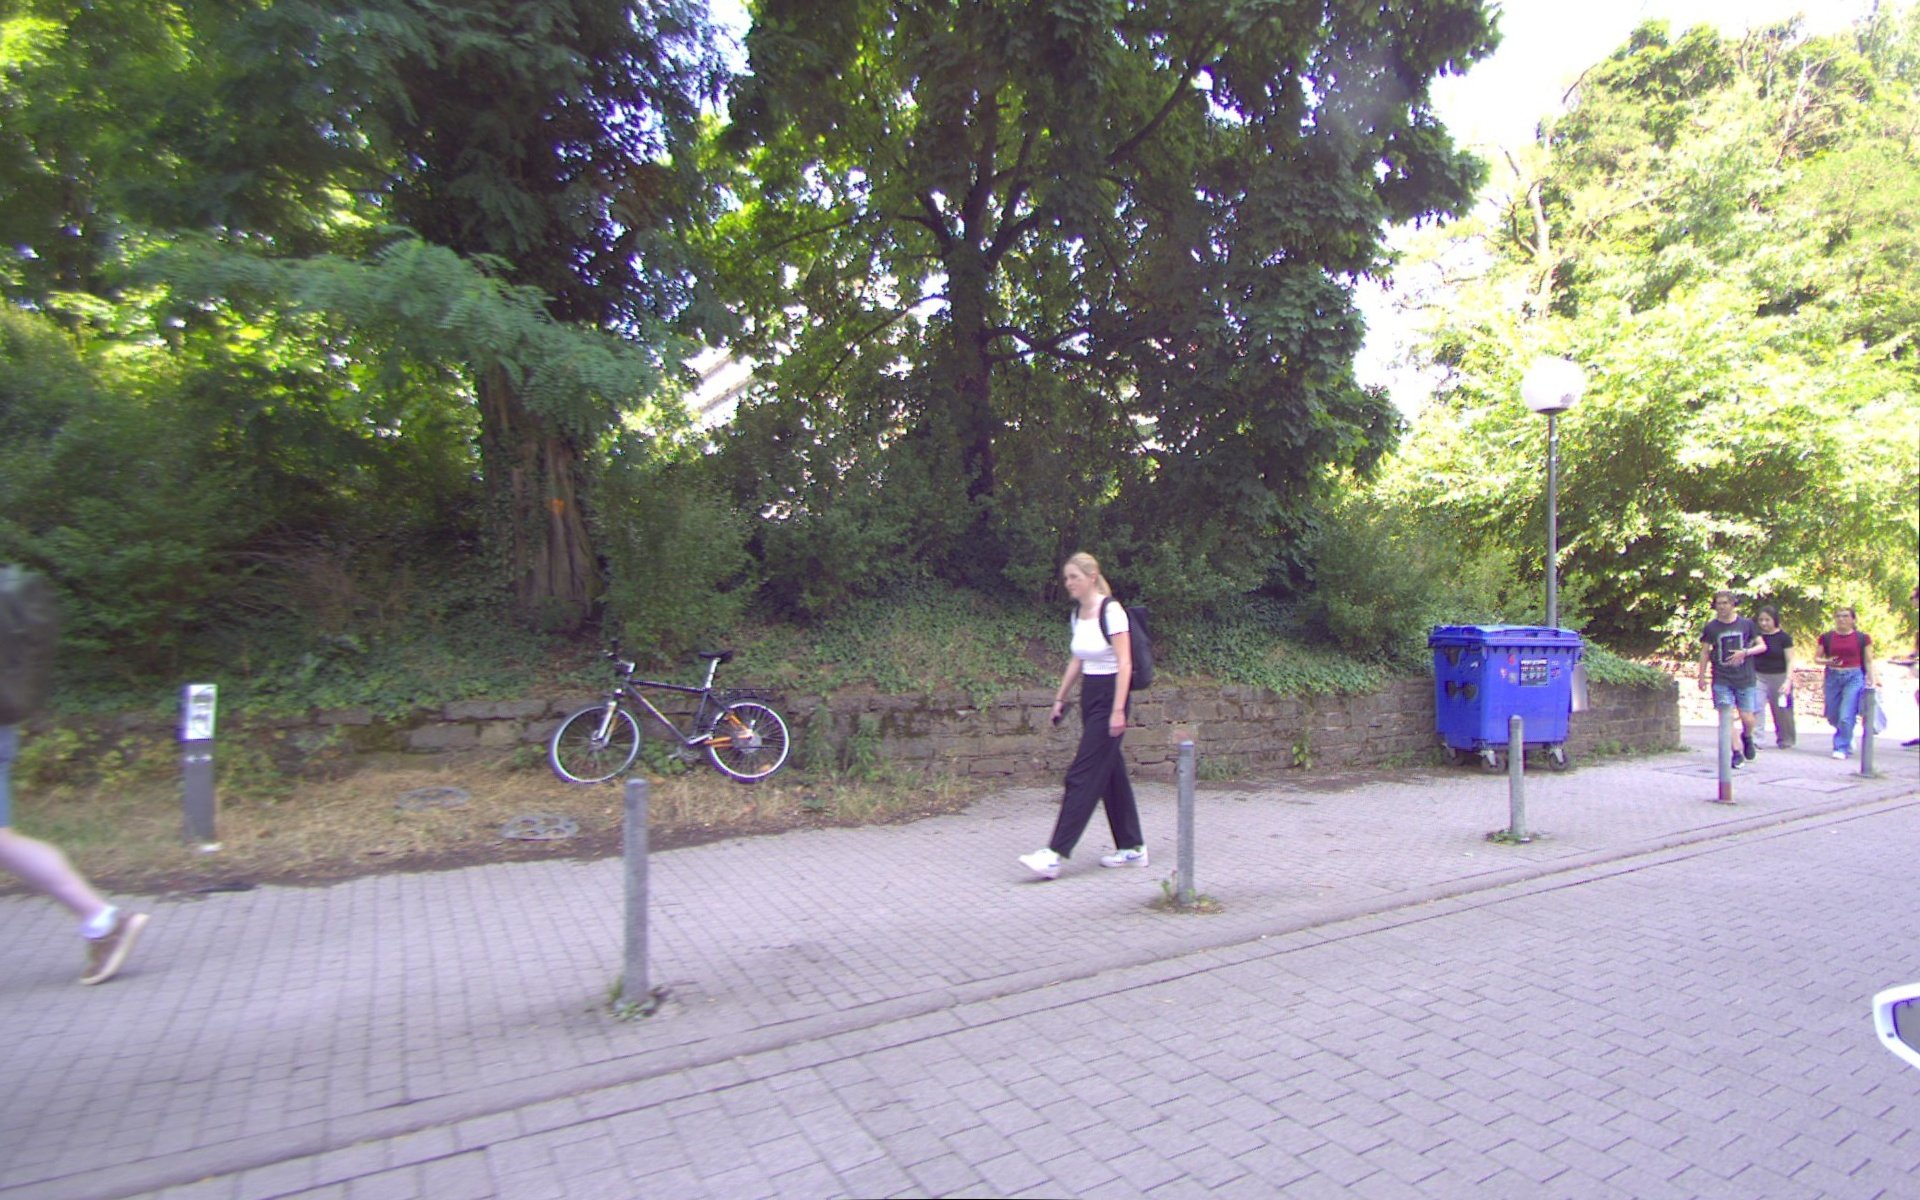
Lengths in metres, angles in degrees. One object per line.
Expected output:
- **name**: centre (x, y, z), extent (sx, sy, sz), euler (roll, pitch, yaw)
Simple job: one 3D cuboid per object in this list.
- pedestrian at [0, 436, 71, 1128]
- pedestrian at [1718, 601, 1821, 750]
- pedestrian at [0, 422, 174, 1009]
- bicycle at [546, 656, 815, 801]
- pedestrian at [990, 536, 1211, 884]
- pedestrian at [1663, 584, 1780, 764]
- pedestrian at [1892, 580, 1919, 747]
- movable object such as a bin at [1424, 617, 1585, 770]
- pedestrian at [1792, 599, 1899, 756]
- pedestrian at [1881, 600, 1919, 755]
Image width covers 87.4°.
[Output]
- **pedestrian**: centre (-2.830, 0.457, 2.375), extent (0.891, 1.747, 0.682), euler (1, 0, -23)
- **pedestrian**: centre (9.363, 0.845, 11.619), extent (0.969, 1.642, 0.678), euler (2, -1, -36)
- **pedestrian**: centre (-3.446, 0.370, 3.467), extent (1.072, 1.906, 0.719), euler (2, -1, -36)
- **bicycle**: centre (-1.906, 0.883, 6.966), extent (1.712, 0.922, 0.421), euler (3, -1, -16)
- **pedestrian**: centre (0.786, 0.562, 5.613), extent (0.992, 1.751, 0.678), euler (2, 0, -36)
- **pedestrian**: centre (7.830, 0.734, 10.327), extent (1.011, 1.751, 0.678), euler (2, -1, -36)
- **pedestrian**: centre (11.100, 0.717, 11.245), extent (0.677, 1.868, 0.821), euler (2, -1, -33)
- **movable object such as a bin**: centre (5.228, 0.865, 9.663), extent (1.221, 1.354, 0.708), euler (1, 2, -21)
- **pedestrian**: centre (9.711, 0.822, 11.016), extent (0.905, 1.642, 0.678), euler (2, -1, -36)
- **pedestrian**: centre (10.531, 0.832, 10.793), extent (0.677, 1.642, 0.776), euler (2, -1, -33)
